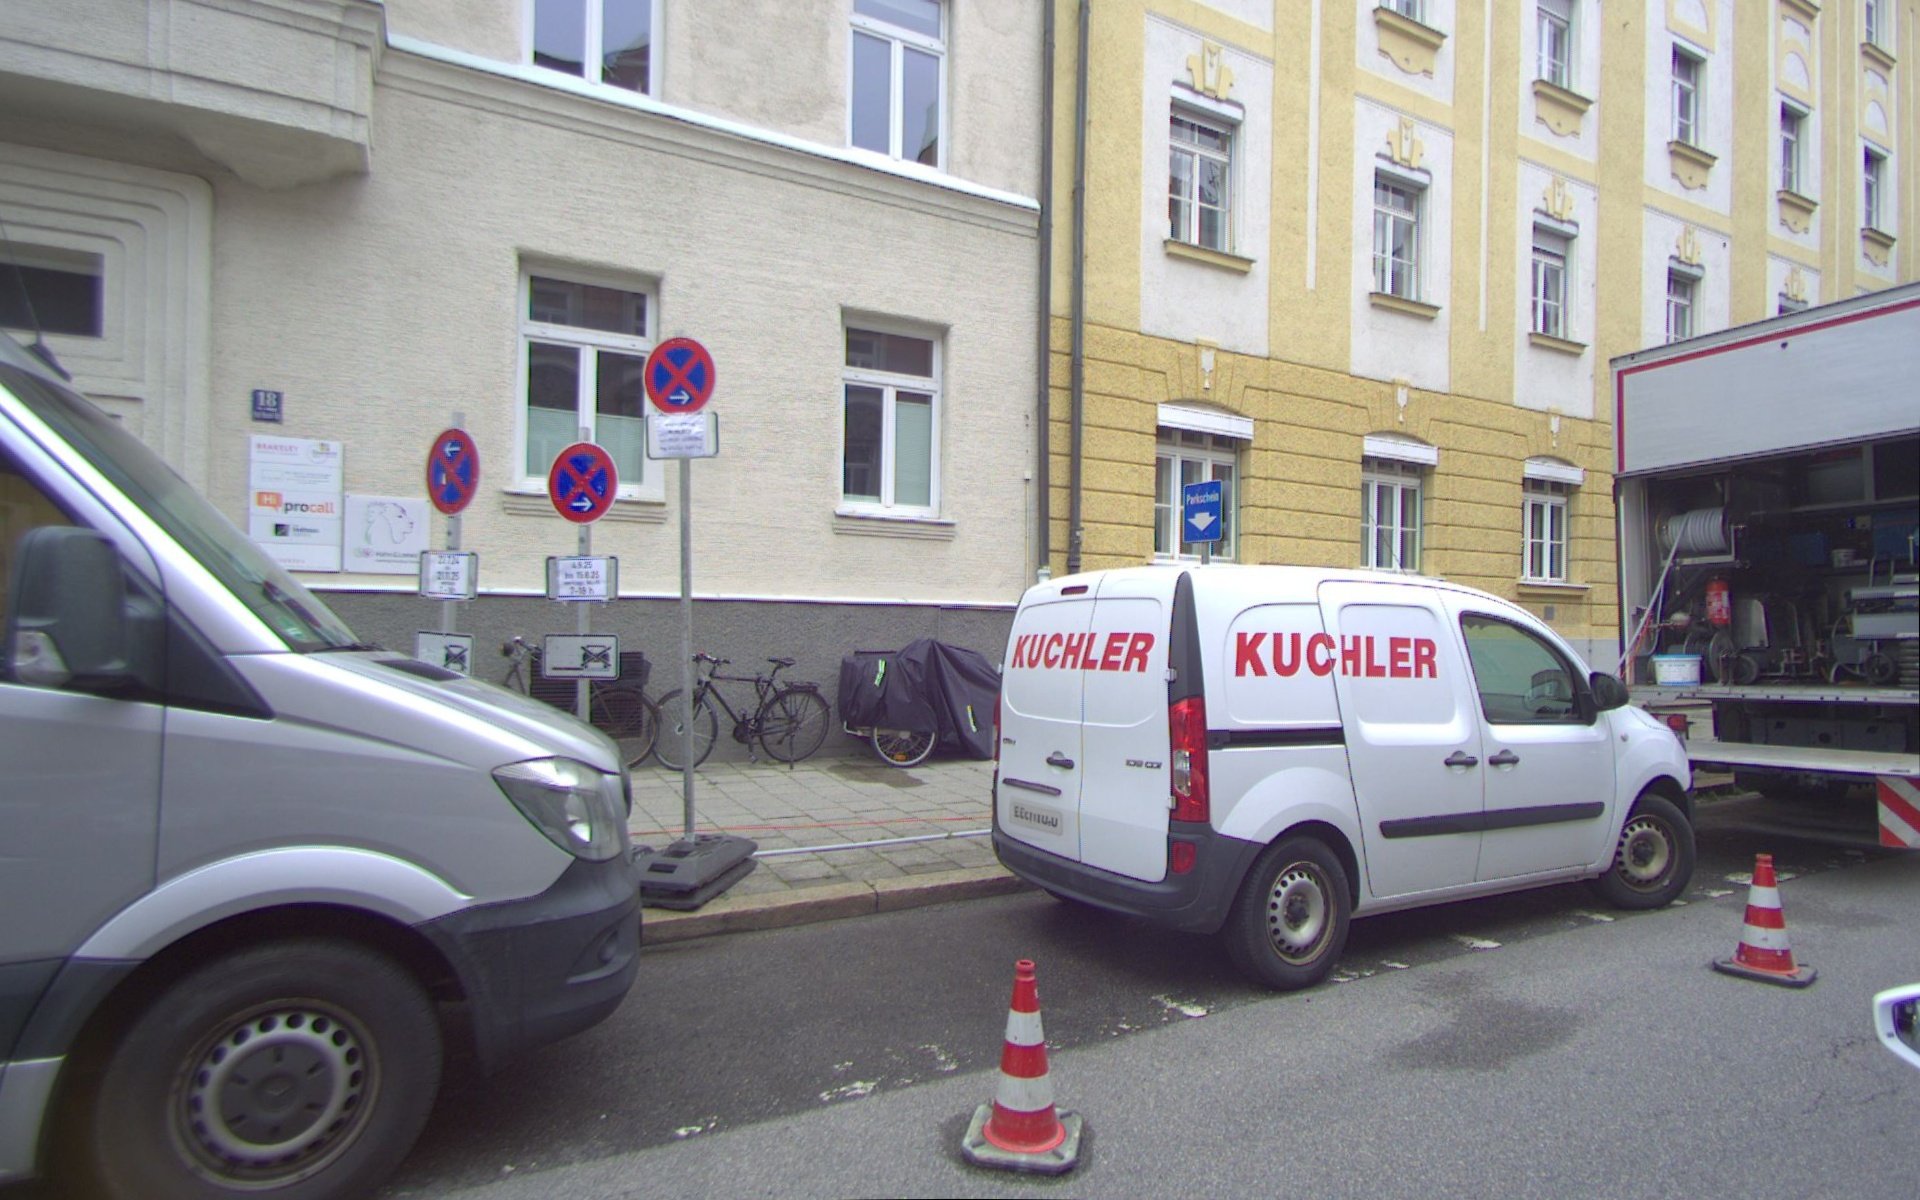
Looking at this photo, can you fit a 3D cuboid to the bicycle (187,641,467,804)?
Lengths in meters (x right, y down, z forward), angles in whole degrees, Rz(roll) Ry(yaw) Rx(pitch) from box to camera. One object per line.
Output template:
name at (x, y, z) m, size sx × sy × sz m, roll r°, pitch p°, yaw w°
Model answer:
bicycle at (-4.700, 0.881, 7.582) m, size 1.721 × 1.119 × 0.426 m, roll 2°, pitch -1°, yaw -29°

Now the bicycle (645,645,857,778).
bicycle at (-1.883, 0.987, 9.194) m, size 1.842 × 1.119 × 0.399 m, roll 2°, pitch -1°, yaw -30°

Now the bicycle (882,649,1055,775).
bicycle at (0.122, 1.047, 9.810) m, size 1.848 × 1.119 × 0.397 m, roll 2°, pitch -1°, yaw -39°

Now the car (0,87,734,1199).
car at (-4.077, 0.269, 2.024) m, size 6.793 × 2.620 × 2.048 m, roll 1°, pitch -5°, yaw -29°

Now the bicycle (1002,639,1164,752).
bicycle at (1.345, 1.010, 10.882) m, size 1.745 × 1.119 × 0.504 m, roll 2°, pitch 2°, yaw -30°

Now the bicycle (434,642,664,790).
bicycle at (-3.383, 0.927, 8.337) m, size 1.715 × 1.119 × 0.426 m, roll 2°, pitch -1°, yaw -29°

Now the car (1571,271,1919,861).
car at (9.623, -0.107, 9.446) m, size 8.618 × 3.868 × 2.800 m, roll 2°, pitch -1°, yaw -29°

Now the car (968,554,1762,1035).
car at (2.326, 0.813, 5.579) m, size 4.272 × 1.802 × 1.756 m, roll 1°, pitch -3°, yaw -28°
